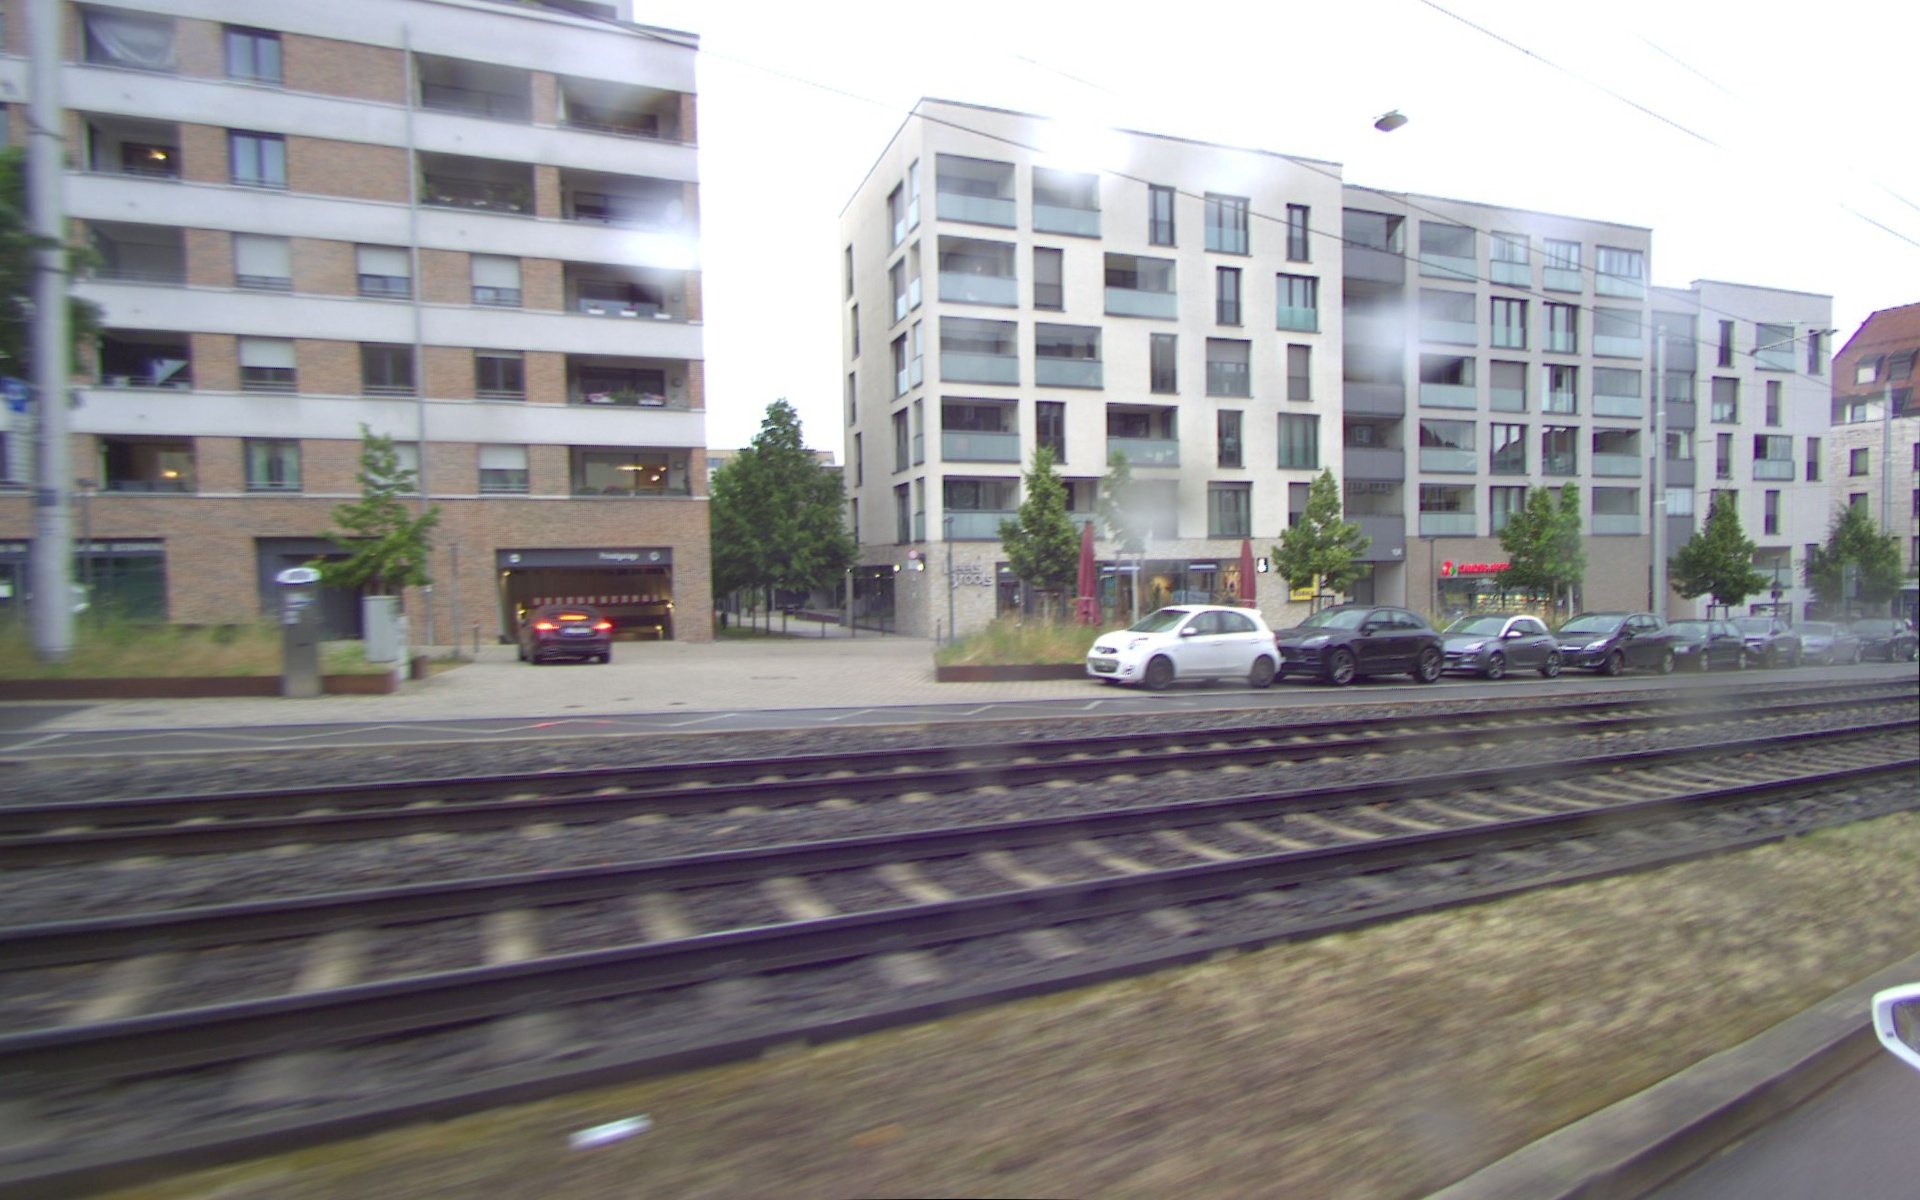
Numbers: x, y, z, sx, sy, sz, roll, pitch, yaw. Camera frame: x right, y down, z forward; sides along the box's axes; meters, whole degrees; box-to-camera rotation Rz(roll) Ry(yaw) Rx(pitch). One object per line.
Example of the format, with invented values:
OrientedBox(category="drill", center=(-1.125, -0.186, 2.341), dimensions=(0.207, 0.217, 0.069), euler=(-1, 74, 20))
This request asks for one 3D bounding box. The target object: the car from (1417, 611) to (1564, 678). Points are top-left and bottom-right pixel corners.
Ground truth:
OrientedBox(category="car", center=(12.577, 1.022, 23.784), dimensions=(3.411, 1.454, 1.541), euler=(1, 0, -31))

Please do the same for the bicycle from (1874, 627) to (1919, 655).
OrientedBox(category="bicycle", center=(39.507, 1.733, 42.053), dimensions=(0.454, 1.078, 1.778), euler=(0, 2, -45))

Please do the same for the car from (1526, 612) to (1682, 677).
OrientedBox(category="car", center=(16.804, 1.126, 26.161), dimensions=(4.269, 1.533, 1.710), euler=(1, 0, -31))

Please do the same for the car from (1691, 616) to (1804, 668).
OrientedBox(category="car", center=(24.920, 1.299, 31.763), dimensions=(3.882, 1.524, 1.761), euler=(1, 0, -35))

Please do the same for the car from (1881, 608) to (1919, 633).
OrientedBox(category="car", center=(62.666, 1.362, 64.995), dimensions=(1.797, 1.589, 4.125), euler=(1, 0, -22))

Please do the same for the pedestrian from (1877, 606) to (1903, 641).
OrientedBox(category="pedestrian", center=(54.670, 1.359, 59.032), dimensions=(0.757, 2.041, 0.935), euler=(0, 1, -35))

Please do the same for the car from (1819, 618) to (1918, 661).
OrientedBox(category="car", center=(34.507, 1.467, 38.134), dimensions=(4.194, 1.524, 1.899), euler=(1, 0, -35))

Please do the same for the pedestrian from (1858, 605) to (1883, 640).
OrientedBox(category="pedestrian", center=(54.729, 1.346, 60.370), dimensions=(0.757, 2.041, 0.935), euler=(0, 1, -35))

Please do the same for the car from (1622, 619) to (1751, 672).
OrientedBox(category="car", center=(20.924, 1.286, 28.893), dimensions=(3.964, 1.380, 1.541), euler=(1, 1, -31))

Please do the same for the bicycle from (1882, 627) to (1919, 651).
OrientedBox(category="bicycle", center=(43.721, 1.799, 46.118), dimensions=(0.715, 1.041, 1.933), euler=(0, 2, -39))

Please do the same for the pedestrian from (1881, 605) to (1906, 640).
OrientedBox(category="pedestrian", center=(56.009, 1.354, 60.271), dimensions=(0.757, 2.041, 0.935), euler=(0, 1, -35))

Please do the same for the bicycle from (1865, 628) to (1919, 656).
OrientedBox(category="bicycle", center=(40.684, 1.819, 43.808), dimensions=(0.454, 1.078, 1.778), euler=(0, 2, -45))

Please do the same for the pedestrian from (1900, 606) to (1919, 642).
OrientedBox(category="pedestrian", center=(55.215, 1.383, 58.194), dimensions=(0.756, 2.041, 0.937), euler=(1, 1, -31))

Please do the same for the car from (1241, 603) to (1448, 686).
OrientedBox(category="car", center=(8.123, 0.899, 21.097), dimensions=(4.355, 1.582, 1.757), euler=(1, 0, -31))

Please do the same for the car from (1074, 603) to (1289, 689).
OrientedBox(category="car", center=(4.212, 0.845, 19.136), dimensions=(3.683, 1.499, 1.761), euler=(1, 0, -24))

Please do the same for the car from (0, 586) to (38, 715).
OrientedBox(category="car", center=(-12.782, 0.548, 10.525), dimensions=(4.139, 1.450, 1.961), euler=(1, 1, -23))

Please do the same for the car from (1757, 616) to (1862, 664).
OrientedBox(category="car", center=(28.984, 1.341, 34.251), dimensions=(4.043, 1.524, 1.761), euler=(1, 0, -35))

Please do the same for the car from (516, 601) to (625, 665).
OrientedBox(category="car", center=(-9.718, 0.792, 24.880), dimensions=(1.745, 1.454, 3.964), euler=(1, -1, -33))

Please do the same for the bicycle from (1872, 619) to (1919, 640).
OrientedBox(category="bicycle", center=(42.710, 1.340, 45.765), dimensions=(0.565, 0.878, 1.635), euler=(0, 2, -41))

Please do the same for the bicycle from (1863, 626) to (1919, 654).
OrientedBox(category="bicycle", center=(41.248, 1.783, 44.486), dimensions=(1.775, 1.123, 0.453), euler=(3, 2, 40))
